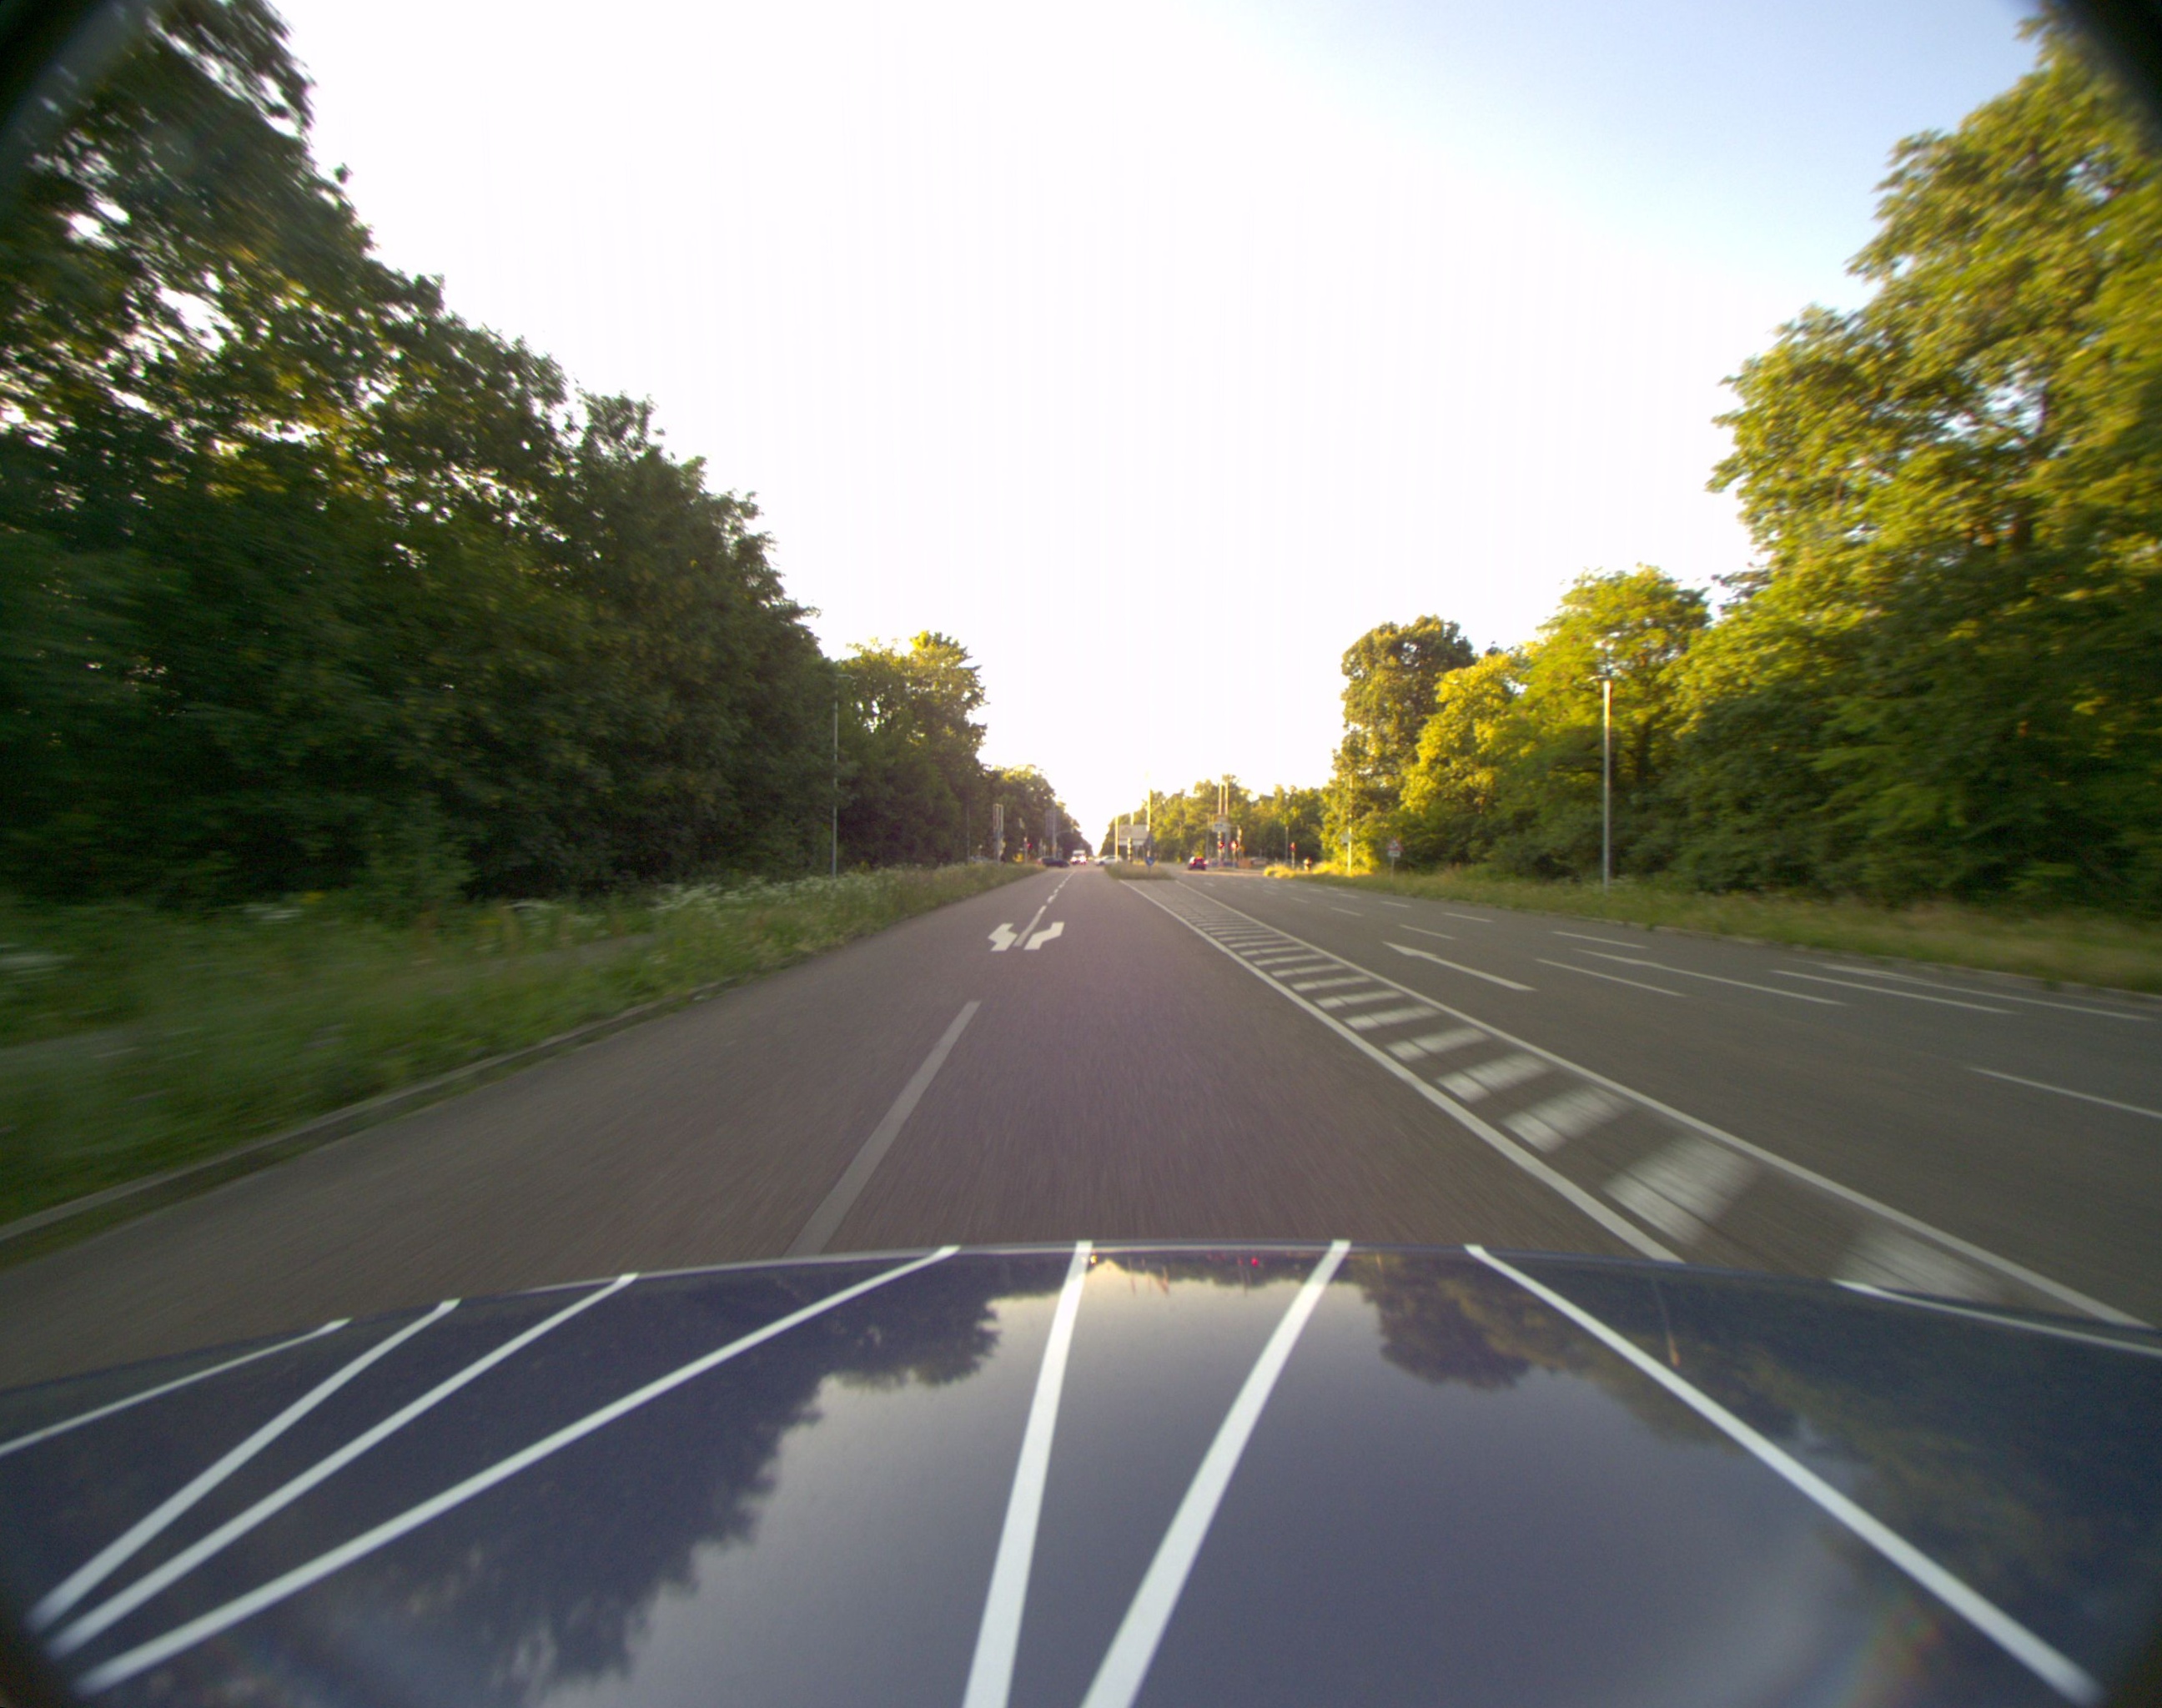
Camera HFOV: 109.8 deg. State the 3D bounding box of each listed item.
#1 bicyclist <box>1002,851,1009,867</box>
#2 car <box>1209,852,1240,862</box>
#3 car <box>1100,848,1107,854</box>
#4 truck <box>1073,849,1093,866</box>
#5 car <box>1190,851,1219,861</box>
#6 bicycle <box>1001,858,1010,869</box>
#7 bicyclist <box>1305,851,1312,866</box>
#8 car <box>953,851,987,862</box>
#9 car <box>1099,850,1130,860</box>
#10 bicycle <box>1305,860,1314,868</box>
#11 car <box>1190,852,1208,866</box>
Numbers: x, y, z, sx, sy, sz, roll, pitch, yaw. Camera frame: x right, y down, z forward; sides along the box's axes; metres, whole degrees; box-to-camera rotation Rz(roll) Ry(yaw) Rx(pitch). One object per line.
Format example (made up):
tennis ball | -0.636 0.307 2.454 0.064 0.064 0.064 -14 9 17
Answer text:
bicyclist | -7.173 0.483 72.237 0.604 1.447 0.780 1 1 2
car | 21.423 0.449 113.364 4.236 1.447 1.719 0 0 -15
car | 6.603 -0.899 219.343 1.846 1.587 4.207 1 2 0
truck | 0.333 0.571 125.488 2.602 2.541 6.026 -2 -1 5
car | 19.456 0.302 119.937 4.236 1.447 1.719 0 0 -15
bicycle | -7.156 0.931 72.168 0.612 0.990 1.691 1 1 2
bicyclist | 21.688 0.424 72.475 0.586 1.421 0.823 1 1 10
car | -14.373 0.292 98.588 4.080 1.397 1.868 0 2 -21
car | 5.068 0.182 115.100 4.236 1.447 1.719 0 0 -15
bicycle | 21.712 0.946 72.284 0.586 0.800 1.960 1 0 10
car | 13.377 0.572 86.219 1.822 1.525 4.458 2 0 8
